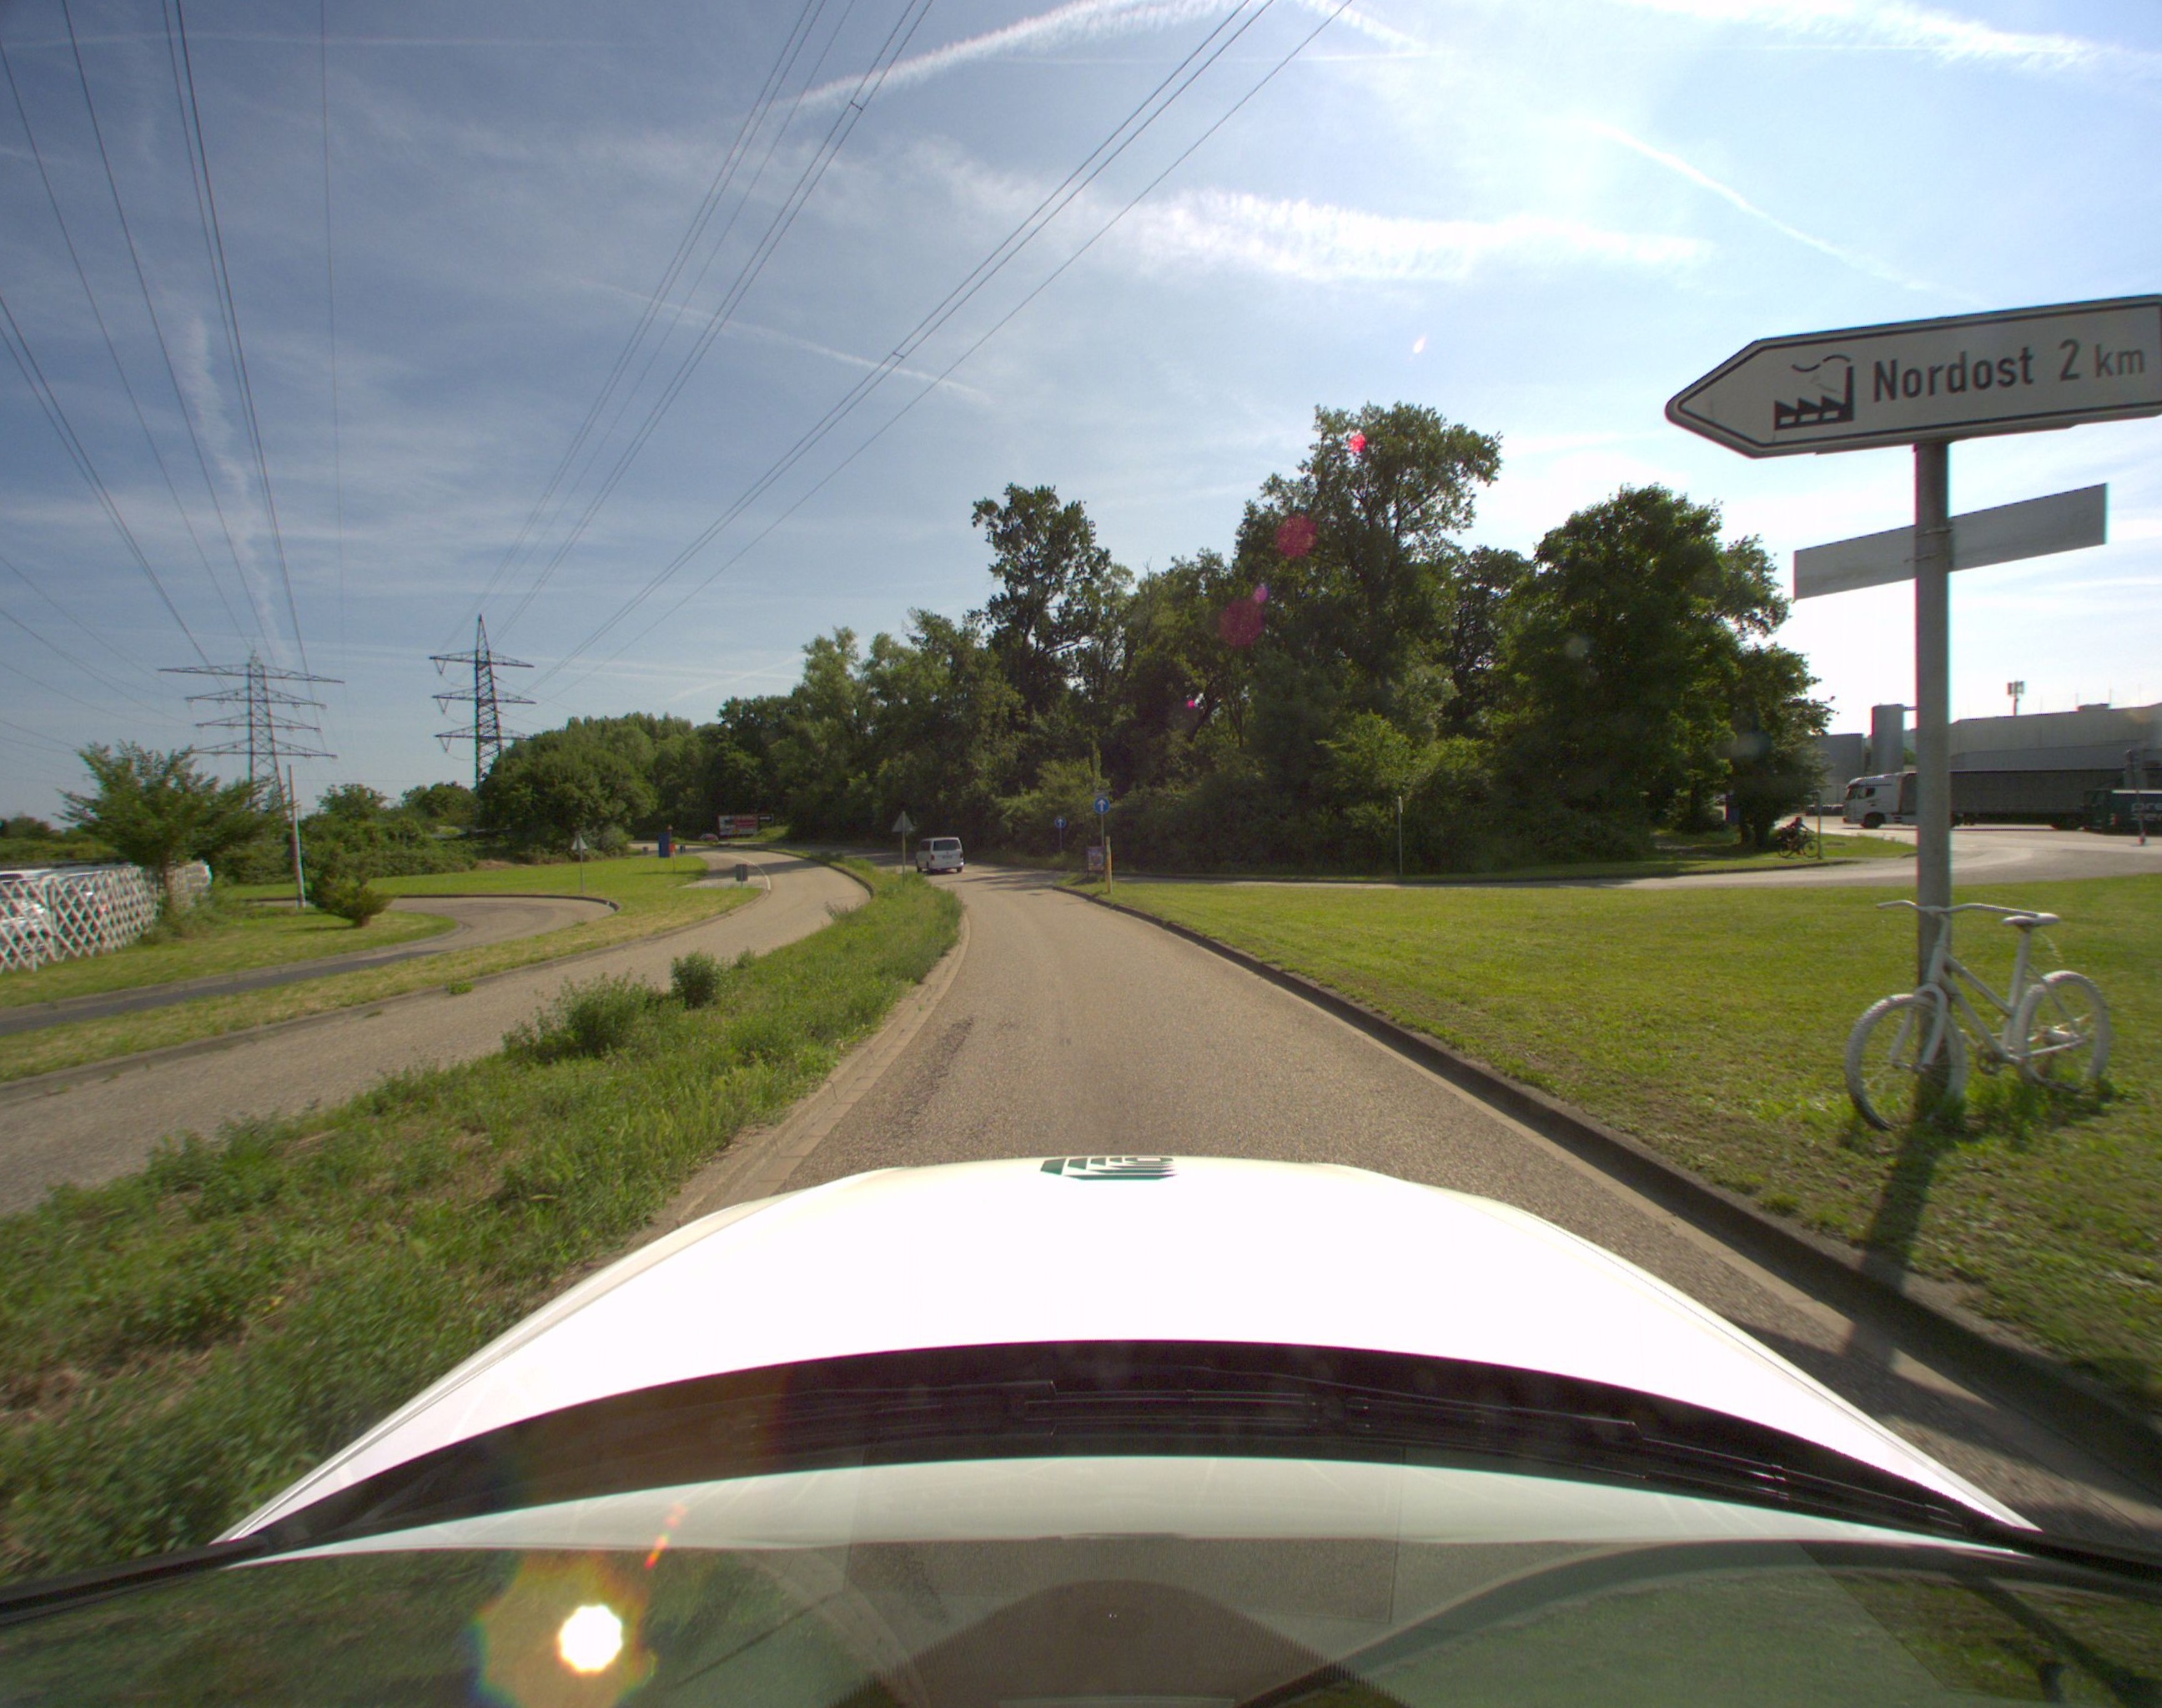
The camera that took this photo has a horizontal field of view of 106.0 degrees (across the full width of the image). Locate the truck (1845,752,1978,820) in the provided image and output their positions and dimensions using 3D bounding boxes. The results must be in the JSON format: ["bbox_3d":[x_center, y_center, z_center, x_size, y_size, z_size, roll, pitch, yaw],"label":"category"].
[{"bbox_3d":[60.293,-4.890,59.427,6.483,4.415,3.781,0,4,40],"label":"truck"}]

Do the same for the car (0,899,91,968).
[{"bbox_3d":[-24.609,1.887,17.555,1.470,1.354,3.773,-2,3,14],"label":"car"}]

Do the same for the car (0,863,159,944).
[{"bbox_3d":[-31.382,1.502,24.248,1.676,2.040,4.761,-2,3,20],"label":"car"}]

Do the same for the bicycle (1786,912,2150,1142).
[{"bbox_3d":[4.276,0.788,3.918,1.784,0.889,0.270,-3,0,-11],"label":"bicycle"}]

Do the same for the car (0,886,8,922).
[{"bbox_3d":[-39.846,1.952,27.741,1.588,1.293,3.643,-3,3,1],"label":"car"}]

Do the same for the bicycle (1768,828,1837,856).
[{"bbox_3d":[28.662,-0.503,32.385,0.722,0.977,2.184,-3,4,-4],"label":"bicycle"}]

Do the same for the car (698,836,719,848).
[{"bbox_3d":[-55.362,-1.776,121.011,1.661,1.566,3.614,-5,4,-41],"label":"car"}]

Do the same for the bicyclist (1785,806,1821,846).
[{"bbox_3d":[28.640,-1.102,32.300,0.674,1.533,0.845,-3,3,-4],"label":"bicyclist"}]

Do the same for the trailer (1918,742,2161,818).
[{"bbox_3d":[65.622,-4.896,54.861,12.553,4.415,3.781,0,4,40],"label":"trailer"}]

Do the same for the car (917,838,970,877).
[{"bbox_3d":[-7.790,0.194,45.852,2.047,2.013,3.971,-3,1,-22],"label":"car"}]

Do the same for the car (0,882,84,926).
[{"bbox_3d":[-37.476,1.825,28.025,1.586,1.293,3.649,-2,3,6],"label":"car"}]
